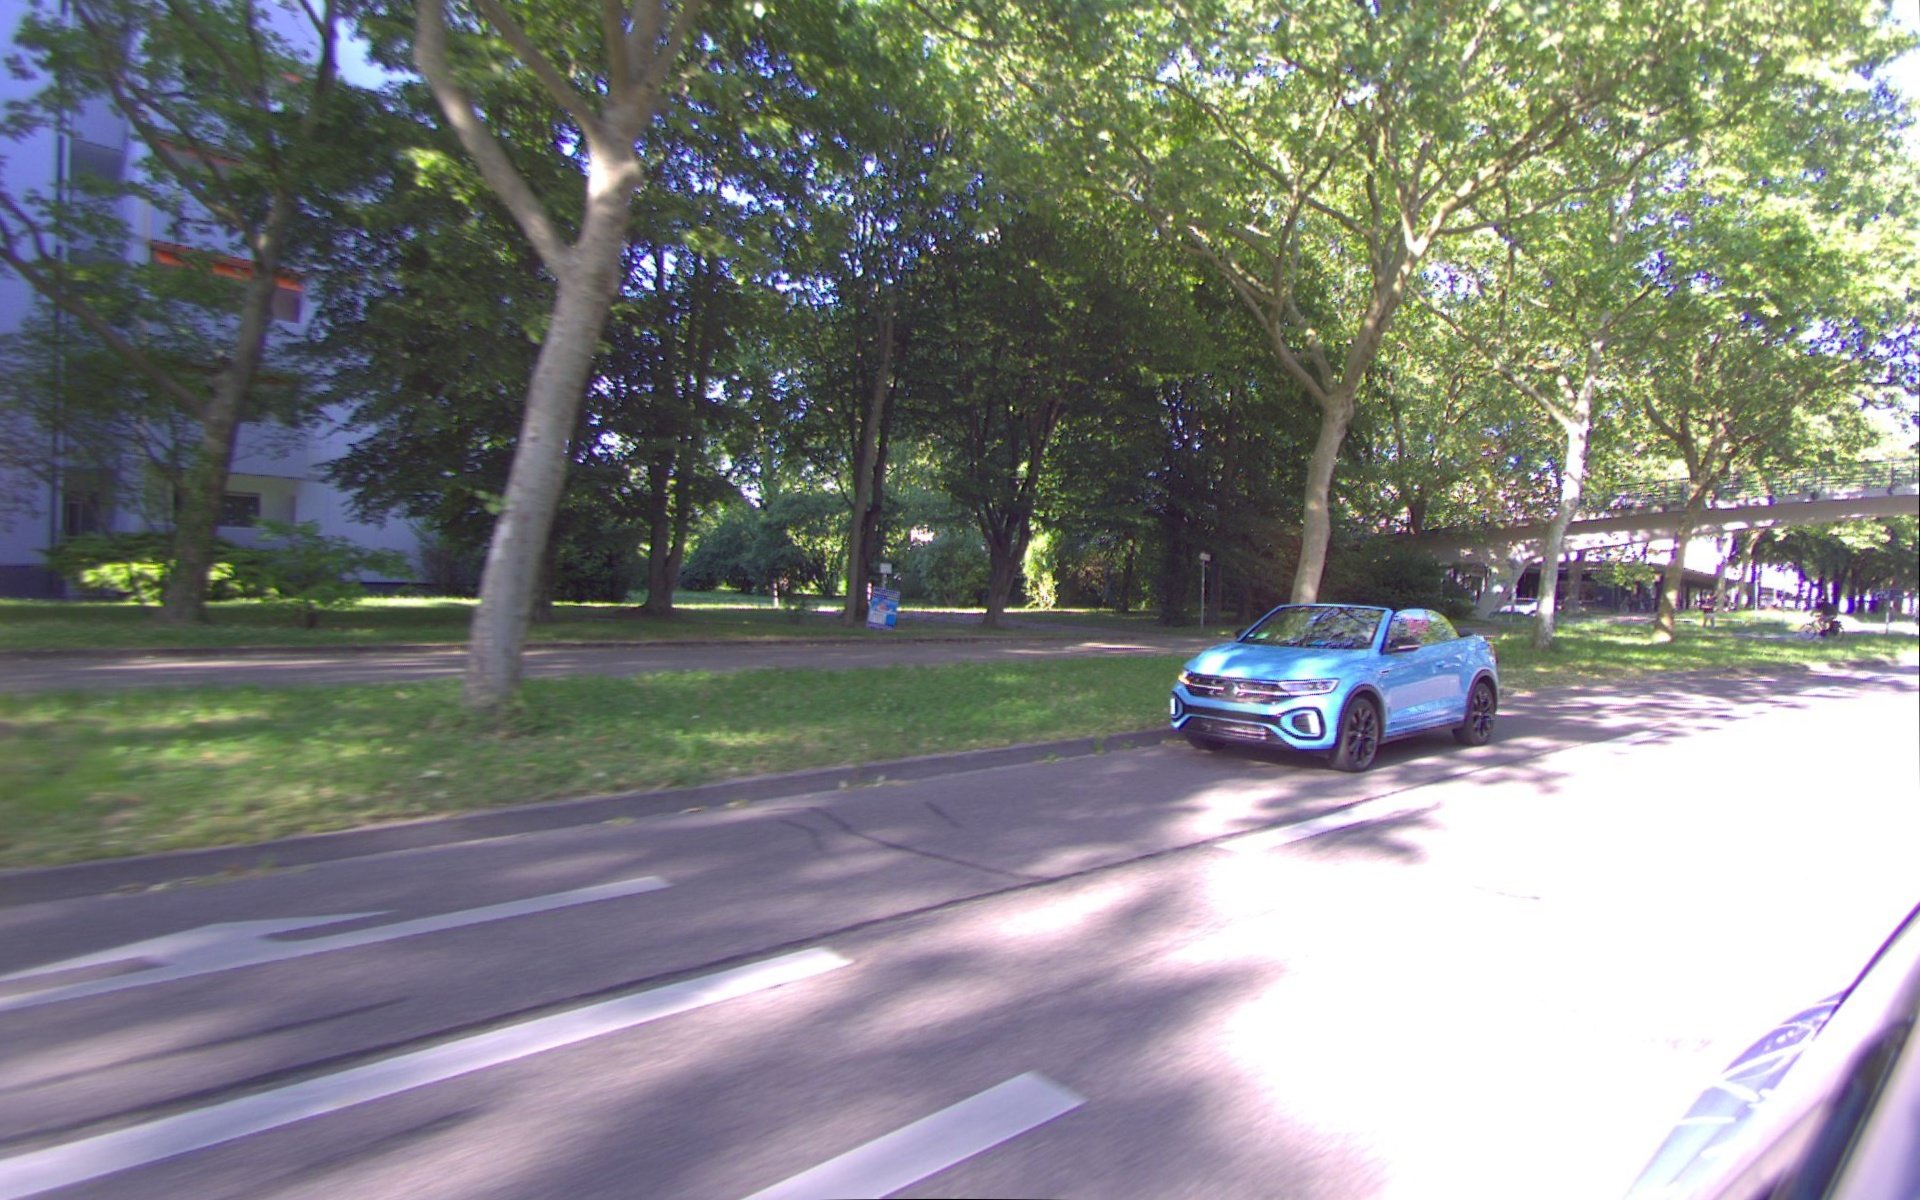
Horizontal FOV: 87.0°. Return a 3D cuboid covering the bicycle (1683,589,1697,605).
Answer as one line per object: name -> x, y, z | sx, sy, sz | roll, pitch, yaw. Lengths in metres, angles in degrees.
bicycle -> 59.134, -0.279, 81.934 | 1.776, 1.269, 0.576 | 0, 0, -43

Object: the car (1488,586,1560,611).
car -> 36.244, -0.133, 65.036 | 1.681, 1.515, 3.731 | 3, -2, -44

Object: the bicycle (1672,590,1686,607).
bicycle -> 55.749, -0.125, 78.475 | 1.776, 1.269, 0.576 | 0, 0, -43

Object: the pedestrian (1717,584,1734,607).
pedestrian -> 61.038, -0.363, 80.701 | 0.963, 1.863, 0.939 | 2, 1, 40

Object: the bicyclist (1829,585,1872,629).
bicyclist -> 34.811, 0.271, 39.581 | 0.797, 1.653, 0.958 | 2, -1, -18

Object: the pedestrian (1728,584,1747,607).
pedestrian -> 59.752, -0.330, 77.783 | 1.126, 1.729, 0.722 | 2, 1, 40

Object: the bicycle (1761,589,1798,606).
bicycle -> 60.892, -0.227, 75.195 | 2.063, 1.172, 0.554 | 3, 2, 39

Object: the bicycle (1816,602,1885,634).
bicycle -> 34.802, 0.700, 39.570 | 0.797, 1.161, 1.841 | 2, 0, -18

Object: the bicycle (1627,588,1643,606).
bicycle -> 49.425, -0.214, 74.112 | 1.776, 1.269, 0.576 | 0, 0, -43

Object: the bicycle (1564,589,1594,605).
bicycle -> 46.072, -0.240, 75.326 | 1.799, 1.129, 0.700 | 2, 3, 42

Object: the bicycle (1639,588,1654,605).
bicycle -> 52.176, -0.246, 76.928 | 1.776, 1.269, 0.576 | 0, 0, -43

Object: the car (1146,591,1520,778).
car -> 3.889, 0.691, 10.246 | 4.027, 1.502, 1.780 | 0, 1, -40

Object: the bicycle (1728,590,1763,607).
bicycle -> 60.340, -0.102, 77.758 | 0.550, 1.172, 2.077 | 1, 2, -27

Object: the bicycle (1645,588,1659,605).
bicycle -> 53.607, -0.263, 78.390 | 1.776, 1.269, 0.576 | 0, 0, -43

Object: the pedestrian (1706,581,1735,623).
pedestrian -> 33.289, 0.098, 44.322 | 0.725, 1.800, 0.661 | 2, 0, -4
